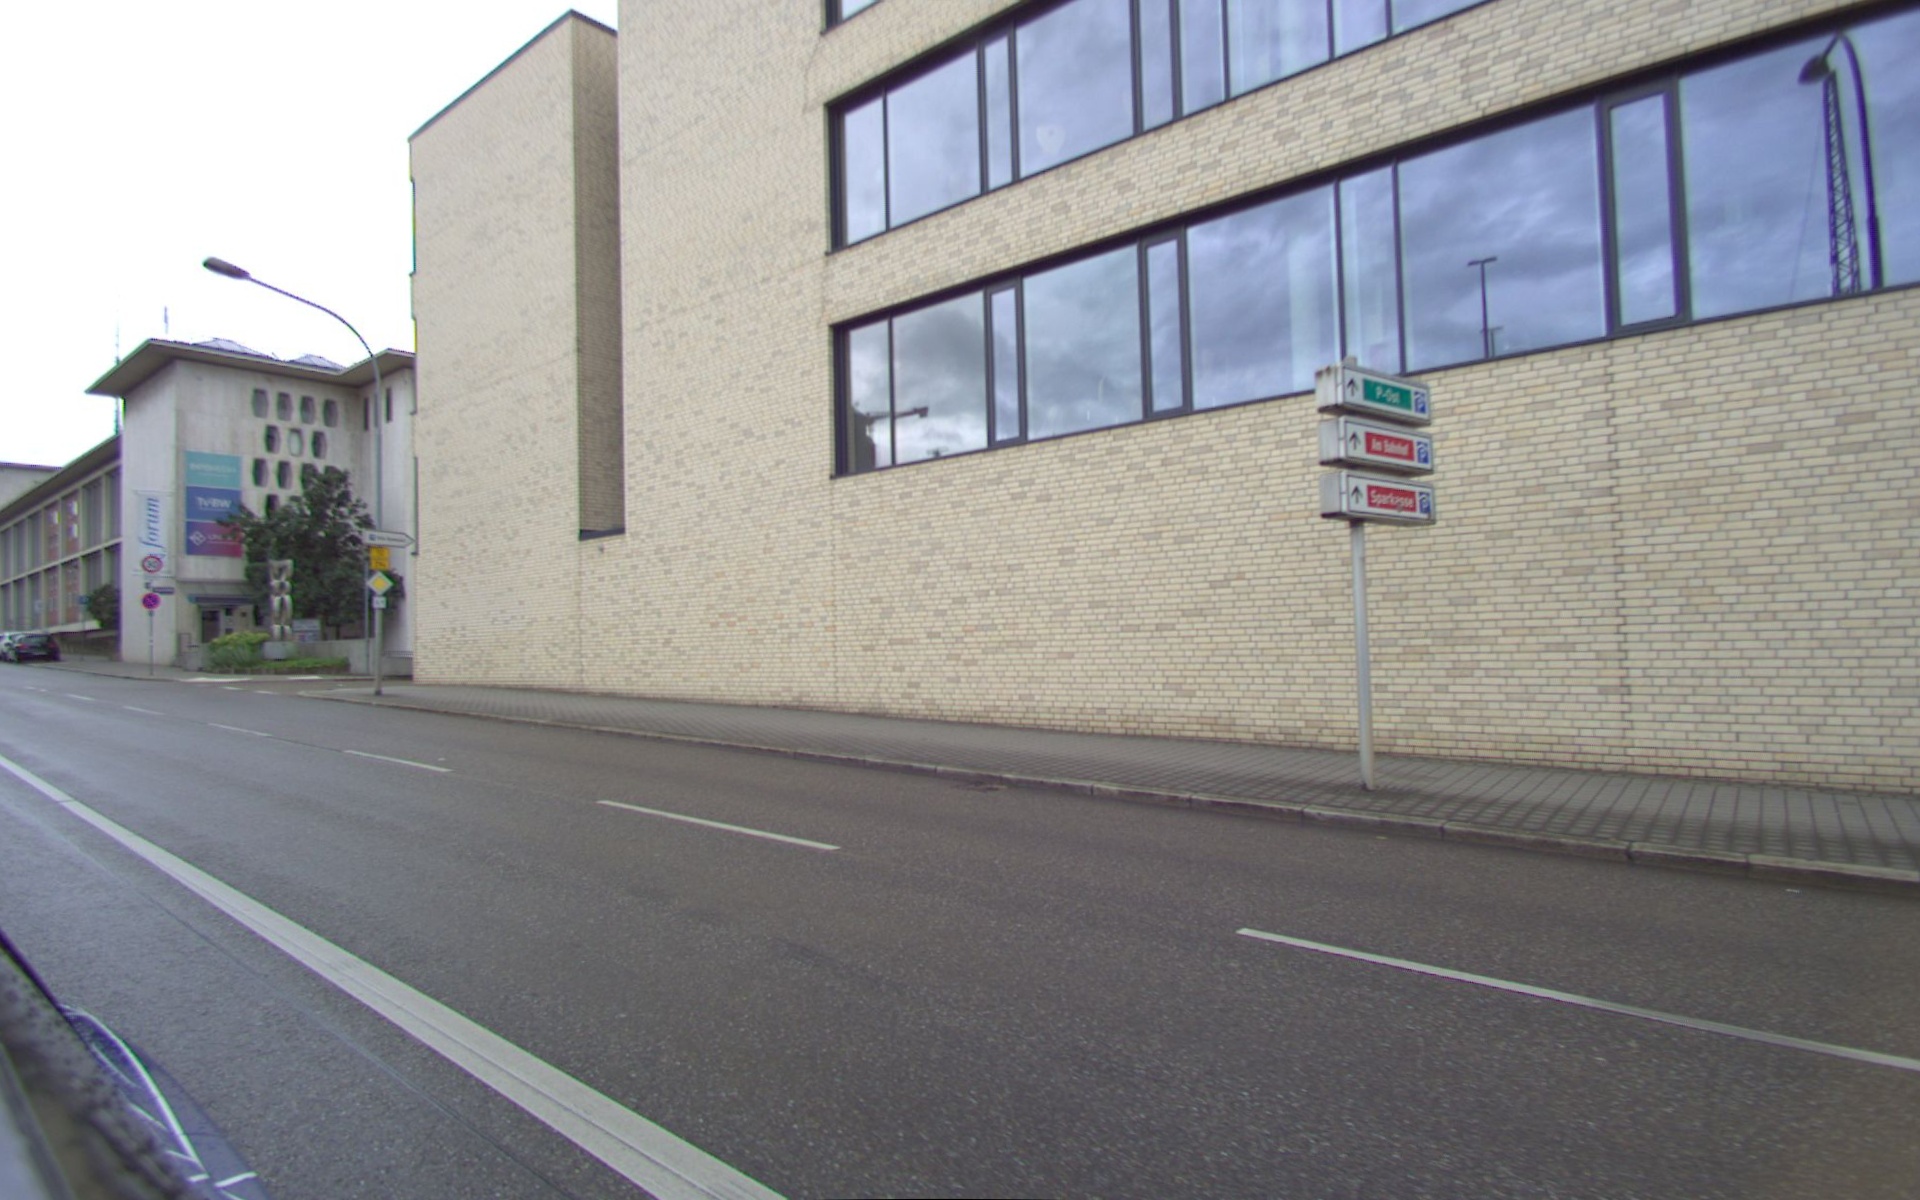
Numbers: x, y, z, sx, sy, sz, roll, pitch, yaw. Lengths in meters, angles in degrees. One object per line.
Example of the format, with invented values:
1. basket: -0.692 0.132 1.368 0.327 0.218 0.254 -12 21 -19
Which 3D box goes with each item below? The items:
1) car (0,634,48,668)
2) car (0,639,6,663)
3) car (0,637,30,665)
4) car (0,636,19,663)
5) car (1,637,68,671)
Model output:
1. car: -51.860 2.768 55.656 3.997 1.654 1.974 -1 1 40
2. car: -64.216 3.307 66.316 3.996 1.542 1.974 -1 -2 39
3. car: -55.782 2.968 58.889 3.998 1.523 1.973 -1 1 41
4. car: -59.755 3.076 62.458 4.183 1.502 1.973 -1 1 40
5. car: -47.749 2.729 52.212 3.996 1.541 1.974 -1 1 39
